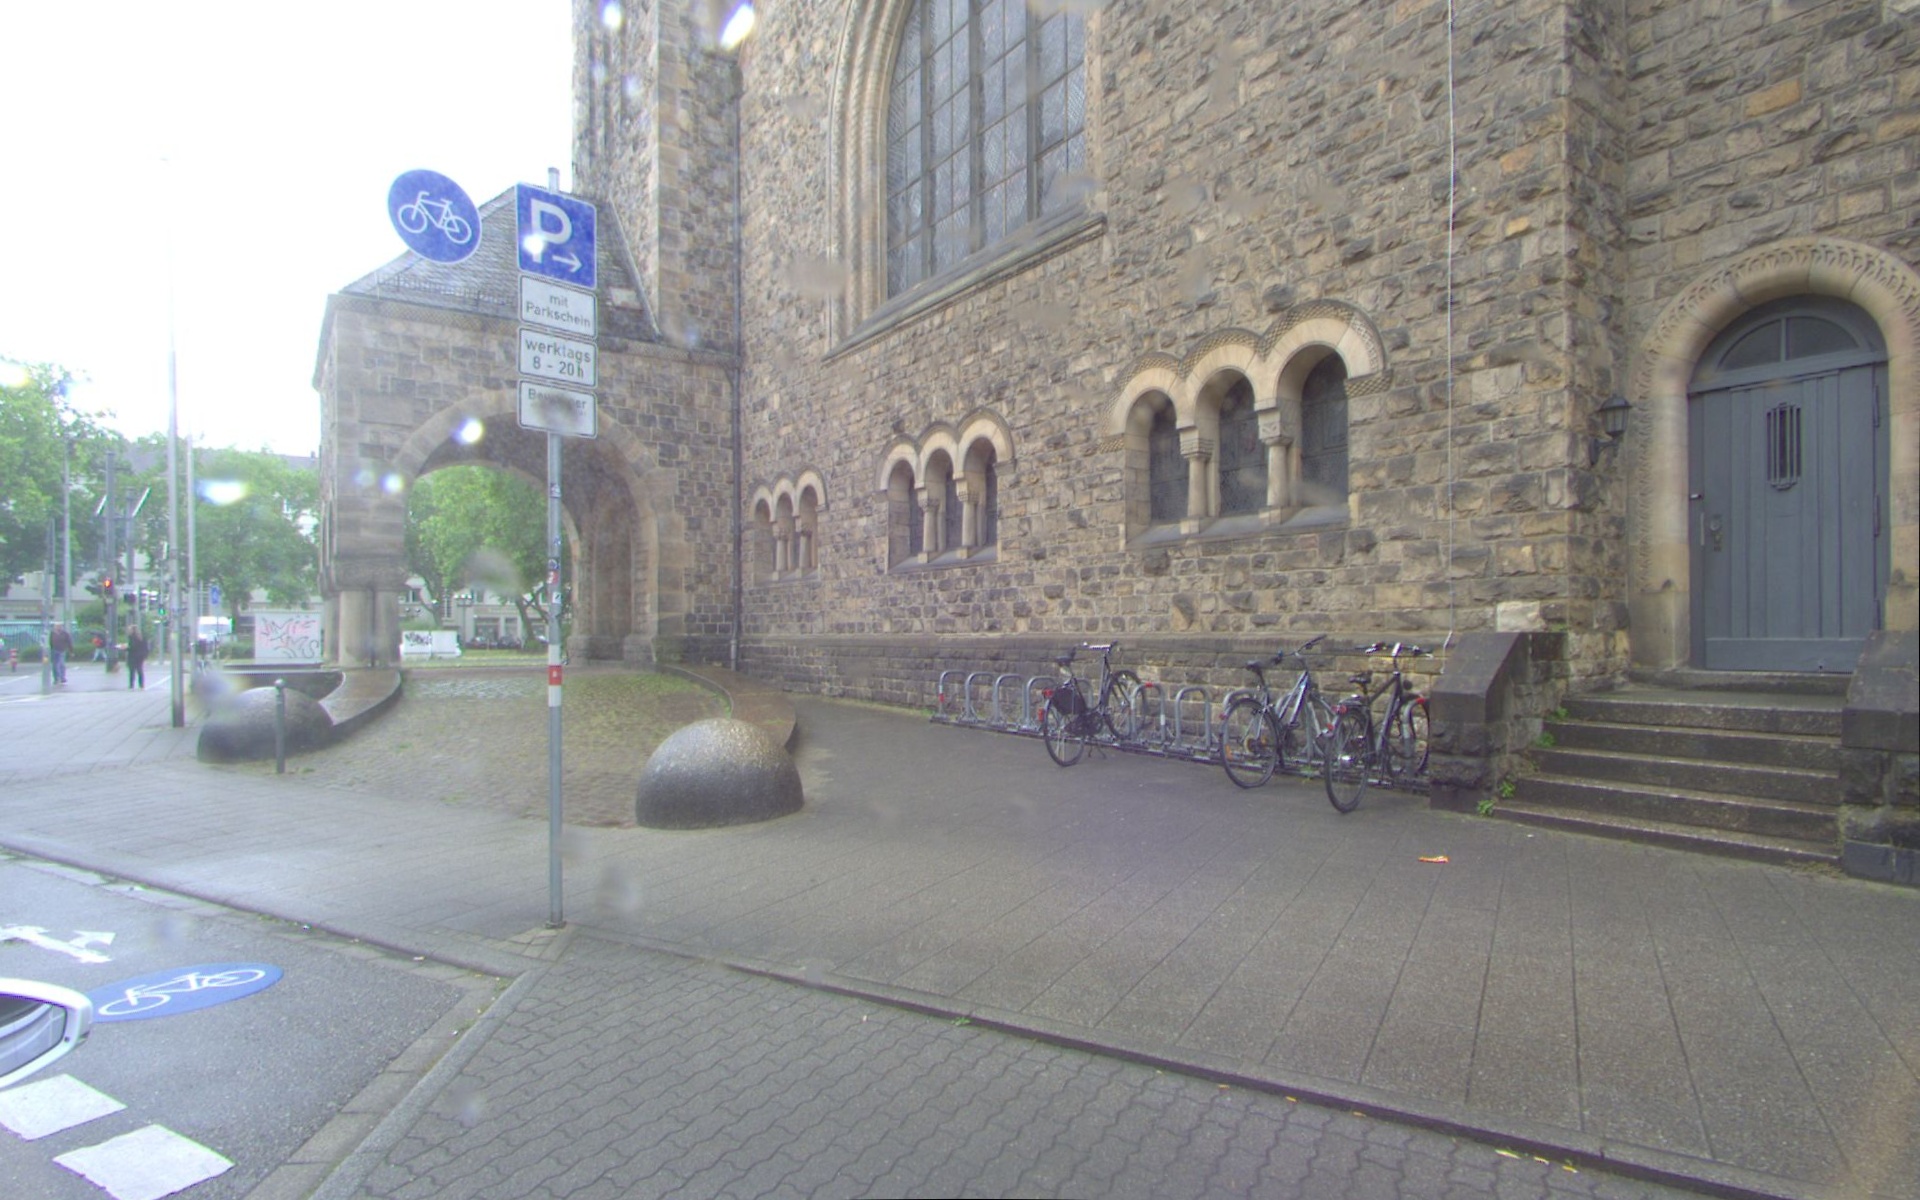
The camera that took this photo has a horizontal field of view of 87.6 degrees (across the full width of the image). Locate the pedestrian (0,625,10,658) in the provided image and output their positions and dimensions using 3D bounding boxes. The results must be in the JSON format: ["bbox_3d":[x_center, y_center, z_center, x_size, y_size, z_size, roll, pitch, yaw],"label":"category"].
[{"bbox_3d":[-48.051,2.065,50.144,0.607,1.624,0.491,0,-1,-34],"label":"pedestrian"}]

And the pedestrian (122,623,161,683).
[{"bbox_3d":[-23.277,1.491,28.487,0.775,1.667,0.651,0,0,-34],"label":"pedestrian"}]

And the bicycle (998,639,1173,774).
[{"bbox_3d":[1.288,0.994,9.919,0.684,1.119,1.973,-1,0,43],"label":"bicycle"}]

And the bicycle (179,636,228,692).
[{"bbox_3d":[-16.633,1.379,22.007,2.049,1.169,0.327,-1,-1,38],"label":"bicycle"}]

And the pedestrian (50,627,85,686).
[{"bbox_3d":[-27.526,1.719,30.879,0.780,1.782,0.936,0,0,-43],"label":"pedestrian"}]

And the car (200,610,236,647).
[{"bbox_3d":[-53.698,2.081,72.539,1.888,2.588,4.757,0,-1,-34],"label":"car"}]

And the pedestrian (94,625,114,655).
[{"bbox_3d":[-45.632,2.147,53.367,0.666,1.573,0.758,0,-2,-30],"label":"pedestrian"}]

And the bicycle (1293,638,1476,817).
[{"bbox_3d":[3.164,0.860,7.349,1.971,1.068,0.507,-2,0,-45],"label":"bicycle"}]

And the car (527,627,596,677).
[{"bbox_3d":[-12.735,1.607,31.908,1.389,1.498,3.200,1,-2,-34],"label":"car"}]

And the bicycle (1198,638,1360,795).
[{"bbox_3d":[2.721,0.918,8.440,1.697,1.126,0.556,-2,0,-45],"label":"bicycle"}]
